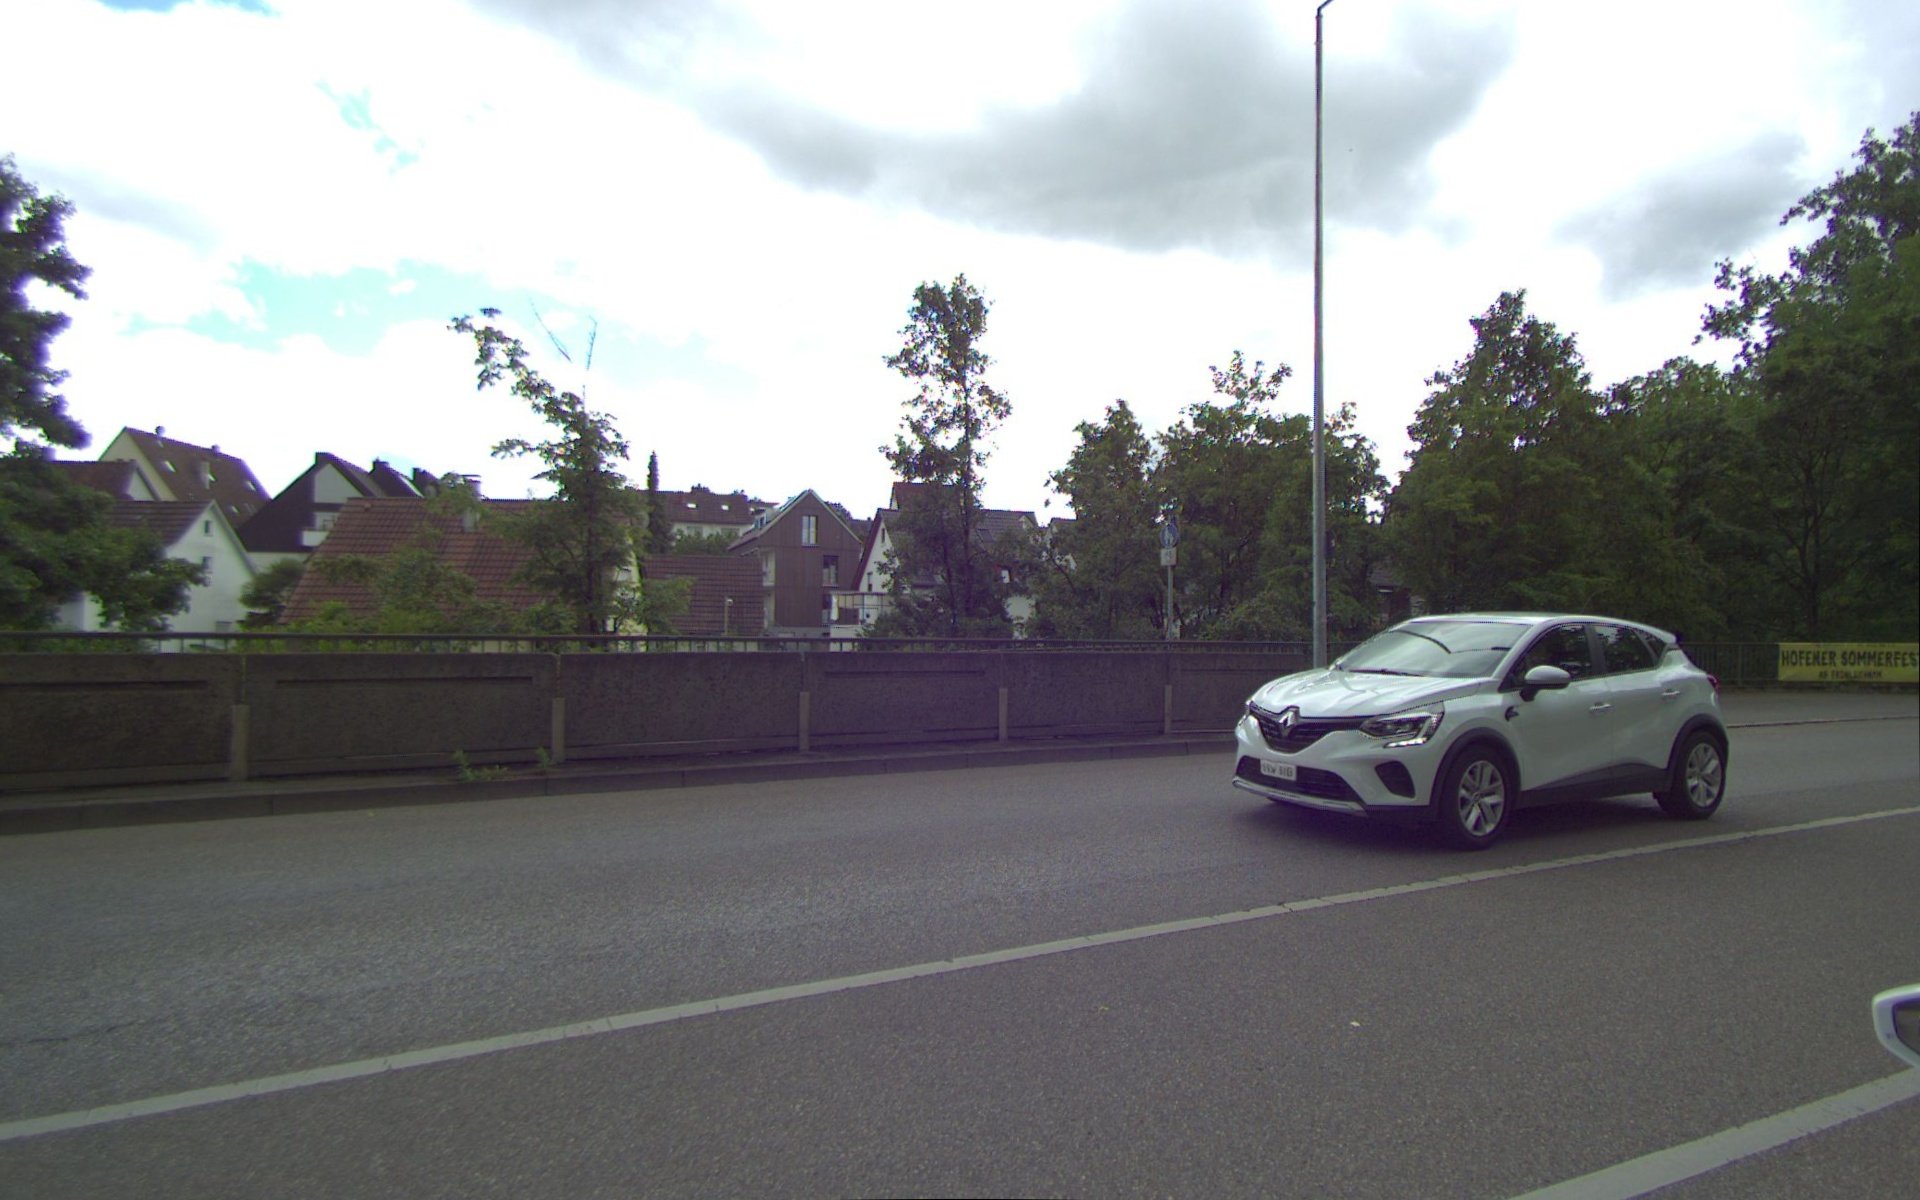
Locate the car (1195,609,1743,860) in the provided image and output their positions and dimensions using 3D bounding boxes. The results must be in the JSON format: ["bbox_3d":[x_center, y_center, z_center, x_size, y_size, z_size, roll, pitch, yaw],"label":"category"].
[{"bbox_3d":[3.925,0.854,7.692,3.948,1.499,1.761,1,-1,-27],"label":"car"}]
